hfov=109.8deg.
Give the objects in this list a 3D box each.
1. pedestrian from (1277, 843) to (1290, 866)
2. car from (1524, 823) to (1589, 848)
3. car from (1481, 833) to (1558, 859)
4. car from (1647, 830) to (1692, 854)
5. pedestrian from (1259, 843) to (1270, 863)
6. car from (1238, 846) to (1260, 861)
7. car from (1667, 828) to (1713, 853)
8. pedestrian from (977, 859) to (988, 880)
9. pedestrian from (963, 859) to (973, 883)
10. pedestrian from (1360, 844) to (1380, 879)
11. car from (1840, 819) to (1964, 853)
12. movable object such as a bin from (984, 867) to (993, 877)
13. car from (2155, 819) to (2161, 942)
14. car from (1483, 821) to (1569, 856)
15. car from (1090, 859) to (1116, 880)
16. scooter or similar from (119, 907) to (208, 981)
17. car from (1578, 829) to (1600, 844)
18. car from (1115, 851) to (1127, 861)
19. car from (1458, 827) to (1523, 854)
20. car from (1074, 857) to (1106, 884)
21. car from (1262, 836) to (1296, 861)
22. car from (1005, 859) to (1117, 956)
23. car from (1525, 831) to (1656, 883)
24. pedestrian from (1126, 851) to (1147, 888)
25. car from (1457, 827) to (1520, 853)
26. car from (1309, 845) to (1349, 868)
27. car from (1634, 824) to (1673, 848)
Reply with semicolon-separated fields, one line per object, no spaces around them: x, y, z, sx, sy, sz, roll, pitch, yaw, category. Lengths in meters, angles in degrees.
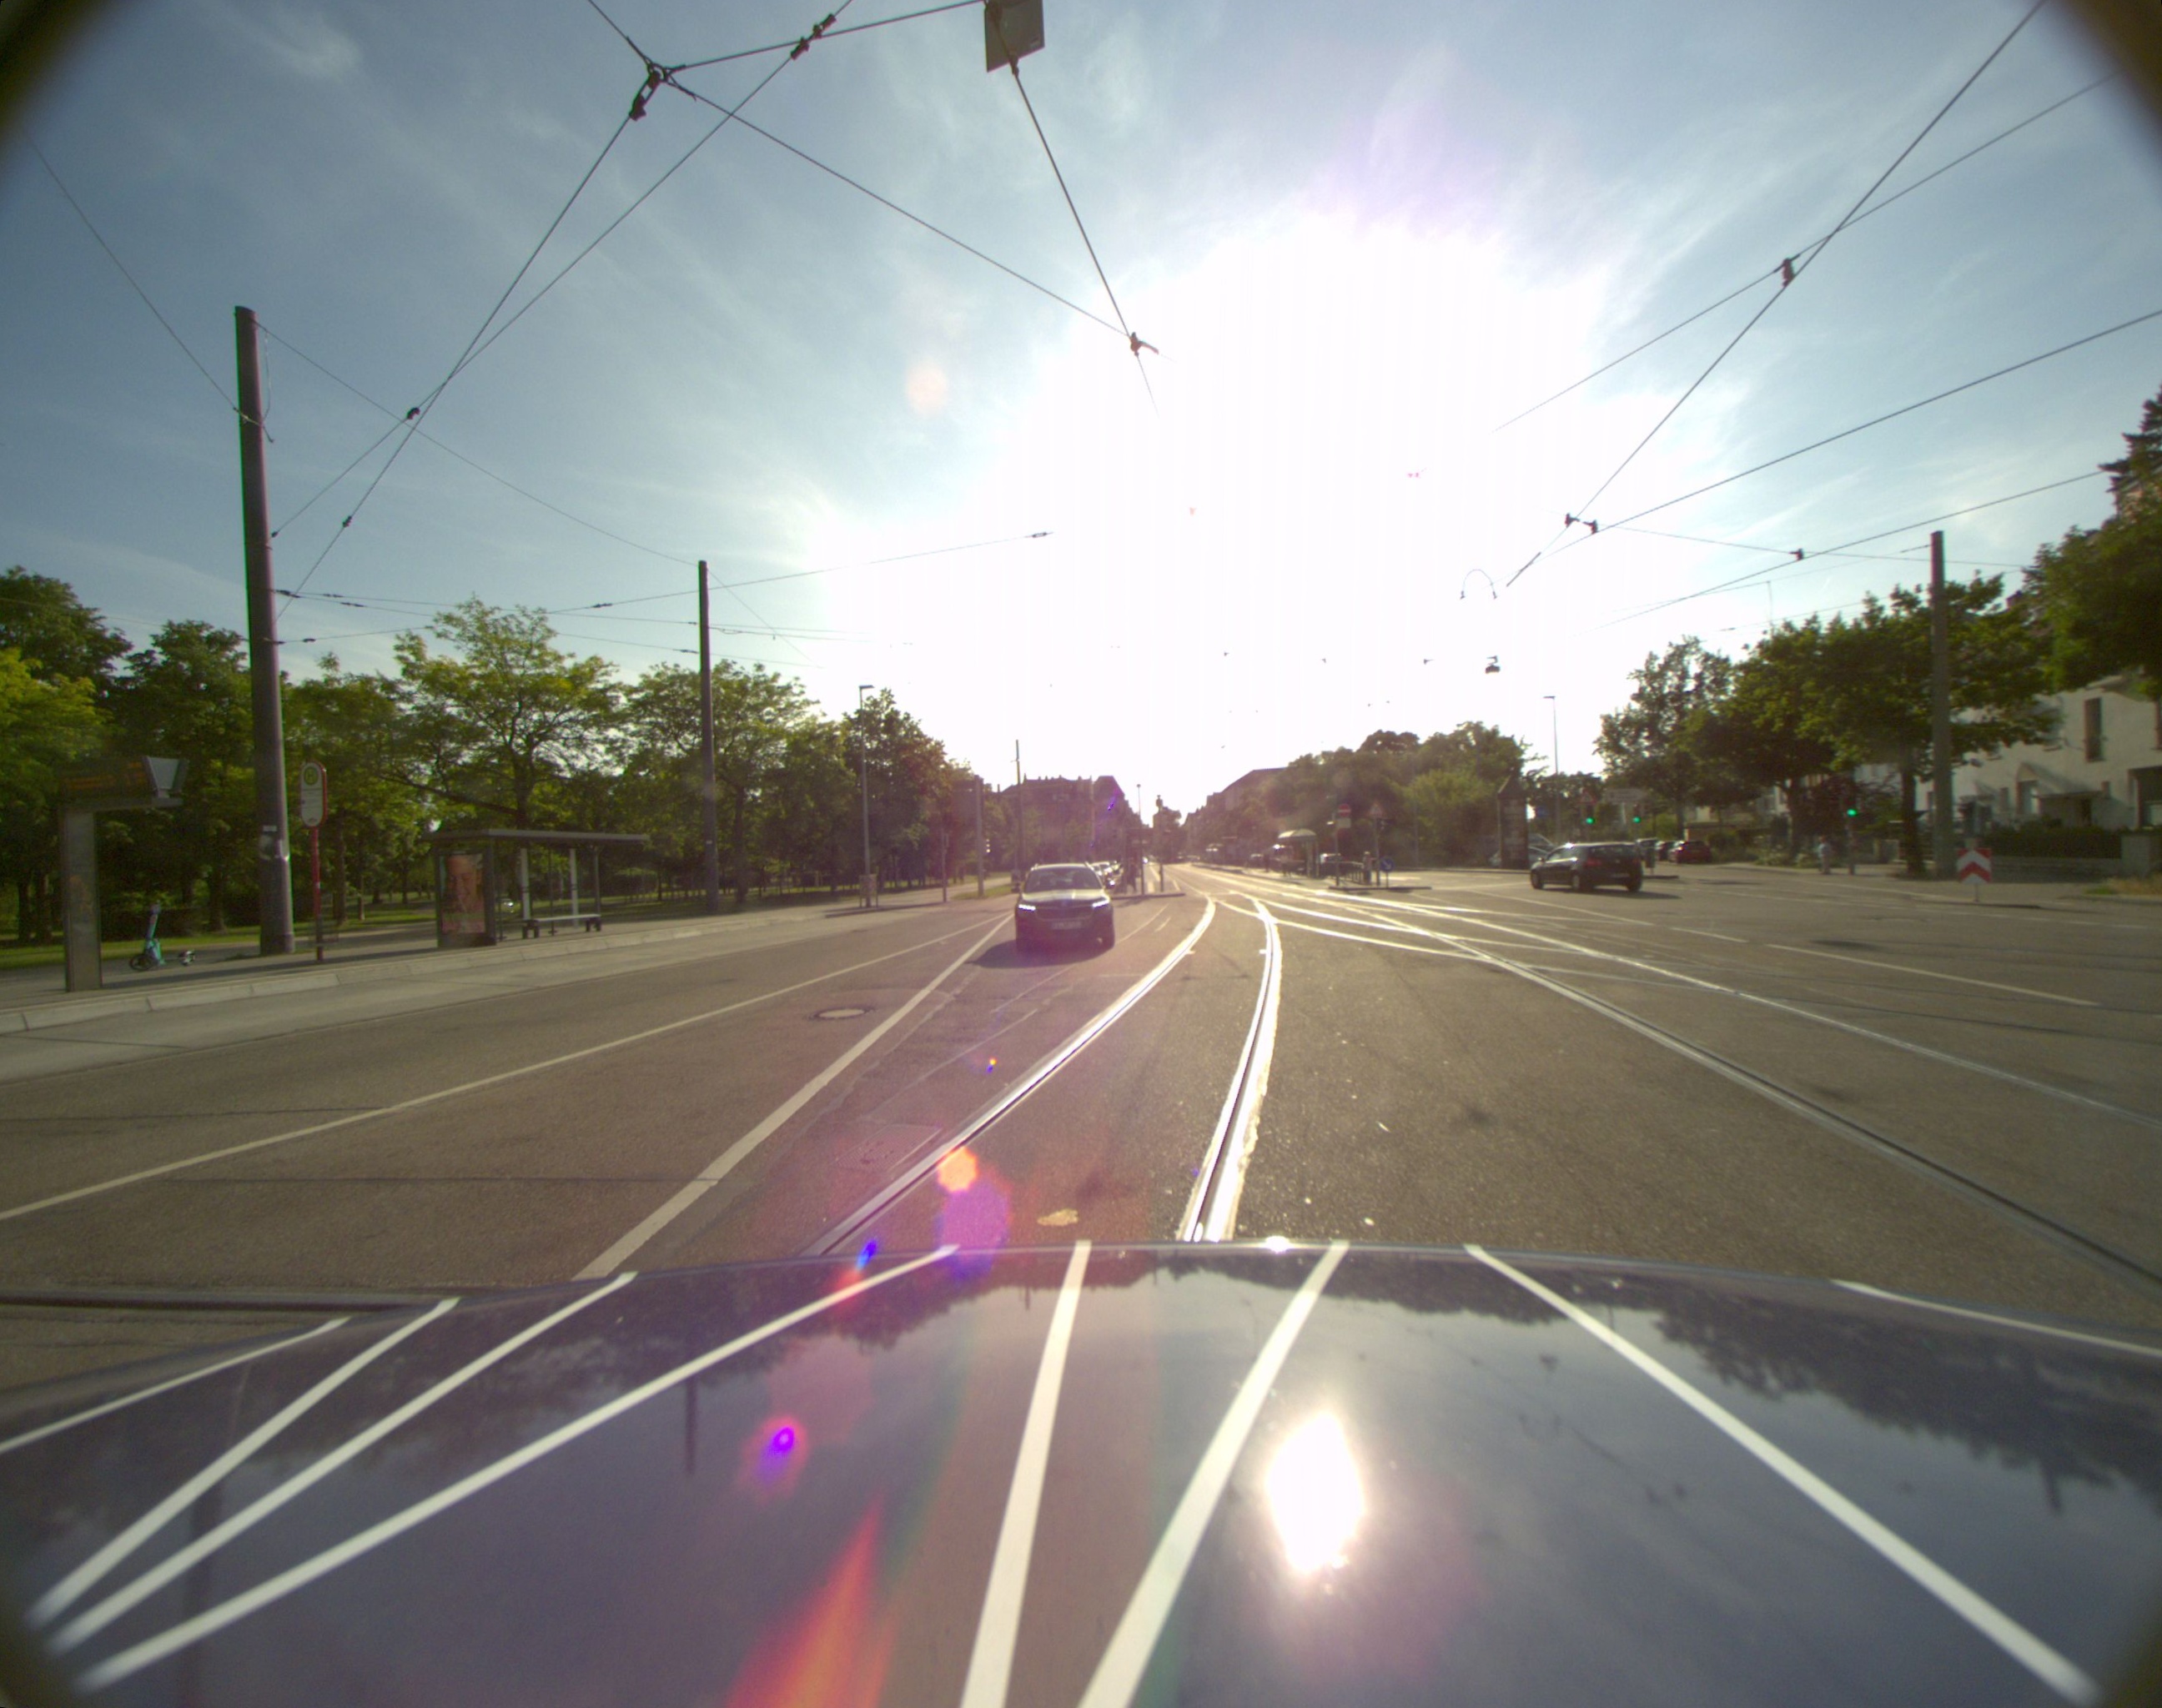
14.109;0.034;52.945;0.707;1.618;0.727;-2;0;5;pedestrian
37.121;-1.407;59.425;3.991;1.744;1.857;-2;0;24;car
27.396;-0.504;47.605;3.990;1.420;1.775;-2;0;26;car
40.539;-0.819;52.420;1.813;1.563;4.007;-2;0;28;car
15.285;-0.114;63.256;0.736;1.618;0.689;-2;0;5;pedestrian
19.765;-0.041;89.318;1.681;1.516;4.125;-2;-1;1;car
38.237;-0.836;47.802;1.546;1.418;3.871;-2;0;28;car
-8.107;1.287;62.761;0.621;1.641;0.663;-2;0;13;pedestrian
-8.326;1.244;56.007;0.558;1.691;0.662;-2;0;4;pedestrian
13.221;0.328;34.770;0.591;1.580;0.715;-2;0;1;pedestrian
42.338;-0.924;39.323;3.990;1.549;1.860;-2;0;30;car
-8.572;1.695;70.335;0.502;0.898;0.525;-2;0;43;movable object such as a bin
12.953;0.282;6.903;1.637;1.425;3.631;-2;0;12;car
40.819;-1.393;69.944;6.586;2.792;1.775;-3;0;26;car
1.748;1.173;58.900;1.781;1.496;4.001;-2;0;5;car
-16.881;1.631;14.005;0.352;1.225;1.135;-2;0;-9;scooter or similar
66.302;-2.257;99.177;1.814;1.789;4.007;-2;0;25;car
6.963;0.324;132.645;1.998;1.674;4.001;-2;0;3;car
29.814;-0.955;55.387;3.991;1.744;1.857;-2;0;24;car
0.618;1.010;47.857;1.671;1.496;3.873;-2;0;5;car
19.544;-0.504;75.276;2.182;2.226;5.254;-2;0;2;car
-0.282;0.907;14.694;1.781;1.496;4.000;-4;0;2;car
15.748;0.088;23.753;1.770;1.425;4.002;-2;0;7;car
2.600;0.715;35.442;0.882;1.660;0.672;-2;0;7;pedestrian
30.592;-1.008;57.177;3.991;1.744;1.857;-2;0;24;car
18.258;0.214;56.083;1.770;1.485;4.747;-2;-1;5;car
45.877;-1.407;60.983;1.813;1.789;4.007;-2;0;28;car
